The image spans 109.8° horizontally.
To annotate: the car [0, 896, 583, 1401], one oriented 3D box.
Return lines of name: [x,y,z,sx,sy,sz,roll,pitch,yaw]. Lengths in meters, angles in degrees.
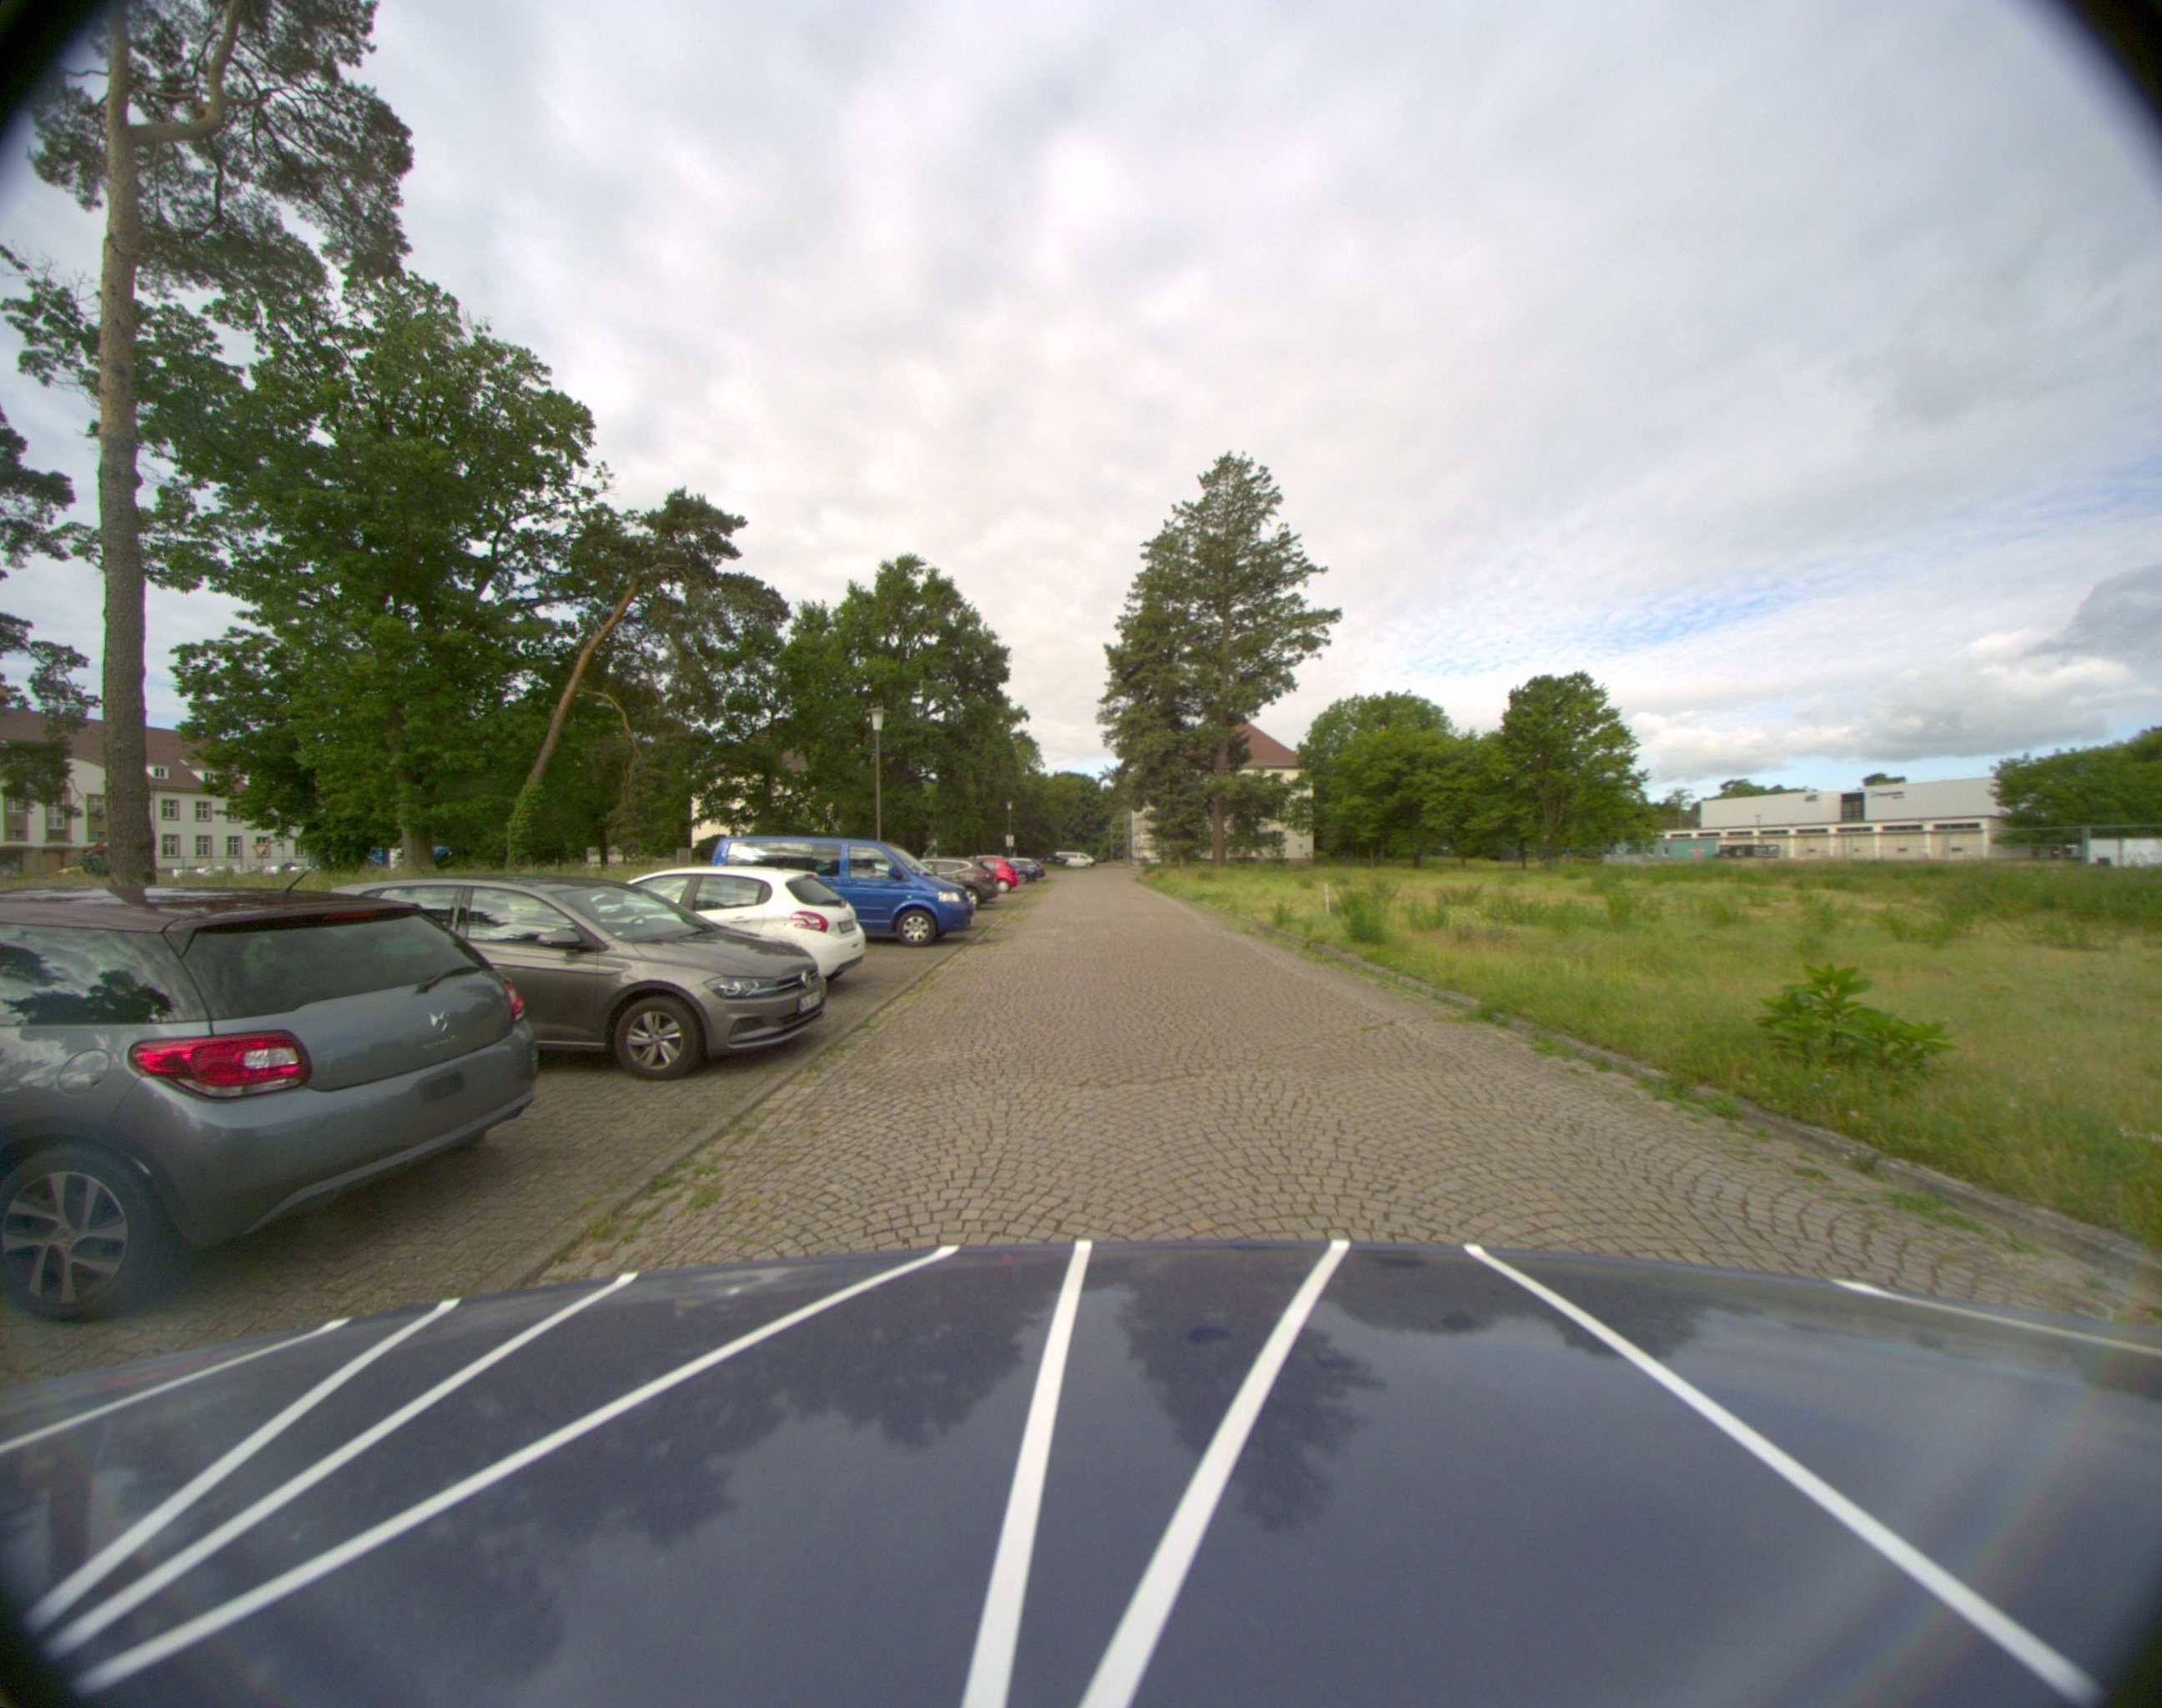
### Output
car: [-4.691,0.992,3.288,3.872,1.463,1.758,1,0,-1]

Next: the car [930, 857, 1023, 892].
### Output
car: [-4.563,0.891,33.541,3.895,1.451,1.582,1,1,-1]

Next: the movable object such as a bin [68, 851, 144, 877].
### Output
movable object such as a bin: [-76.885,0.782,59.947,1.679,2.002,3.245,0,0,8]

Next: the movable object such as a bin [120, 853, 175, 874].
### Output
movable object such as a bin: [-89.931,0.882,73.227,1.553,2.002,2.985,0,0,1]

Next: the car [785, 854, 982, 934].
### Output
car: [-4.294,0.856,16.991,3.872,1.463,1.841,3,0,-1]

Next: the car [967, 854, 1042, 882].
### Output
car: [-4.390,0.786,43.782,4.150,1.529,1.582,1,1,-1]

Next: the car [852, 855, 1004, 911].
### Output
car: [-4.589,0.855,23.264,4.271,1.589,1.821,1,0,-1]

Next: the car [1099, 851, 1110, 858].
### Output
car: [5.022,0.054,164.196,1.870,1.408,4.694,1,0,-4]

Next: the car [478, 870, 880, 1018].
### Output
car: [-4.602,0.991,9.122,3.872,1.463,1.758,1,0,1]

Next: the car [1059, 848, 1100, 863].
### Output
car: [-0.248,0.174,97.239,5.141,1.860,1.723,1,1,-1]

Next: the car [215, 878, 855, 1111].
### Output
car: [-4.045,1.004,6.142,3.872,1.463,1.758,1,0,0]

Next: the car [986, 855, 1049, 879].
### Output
car: [-4.030,0.840,48.443,3.878,1.417,1.582,1,1,-1]

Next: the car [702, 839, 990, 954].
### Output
car: [-4.265,0.747,14.418,4.820,1.934,2.003,1,1,-1]
